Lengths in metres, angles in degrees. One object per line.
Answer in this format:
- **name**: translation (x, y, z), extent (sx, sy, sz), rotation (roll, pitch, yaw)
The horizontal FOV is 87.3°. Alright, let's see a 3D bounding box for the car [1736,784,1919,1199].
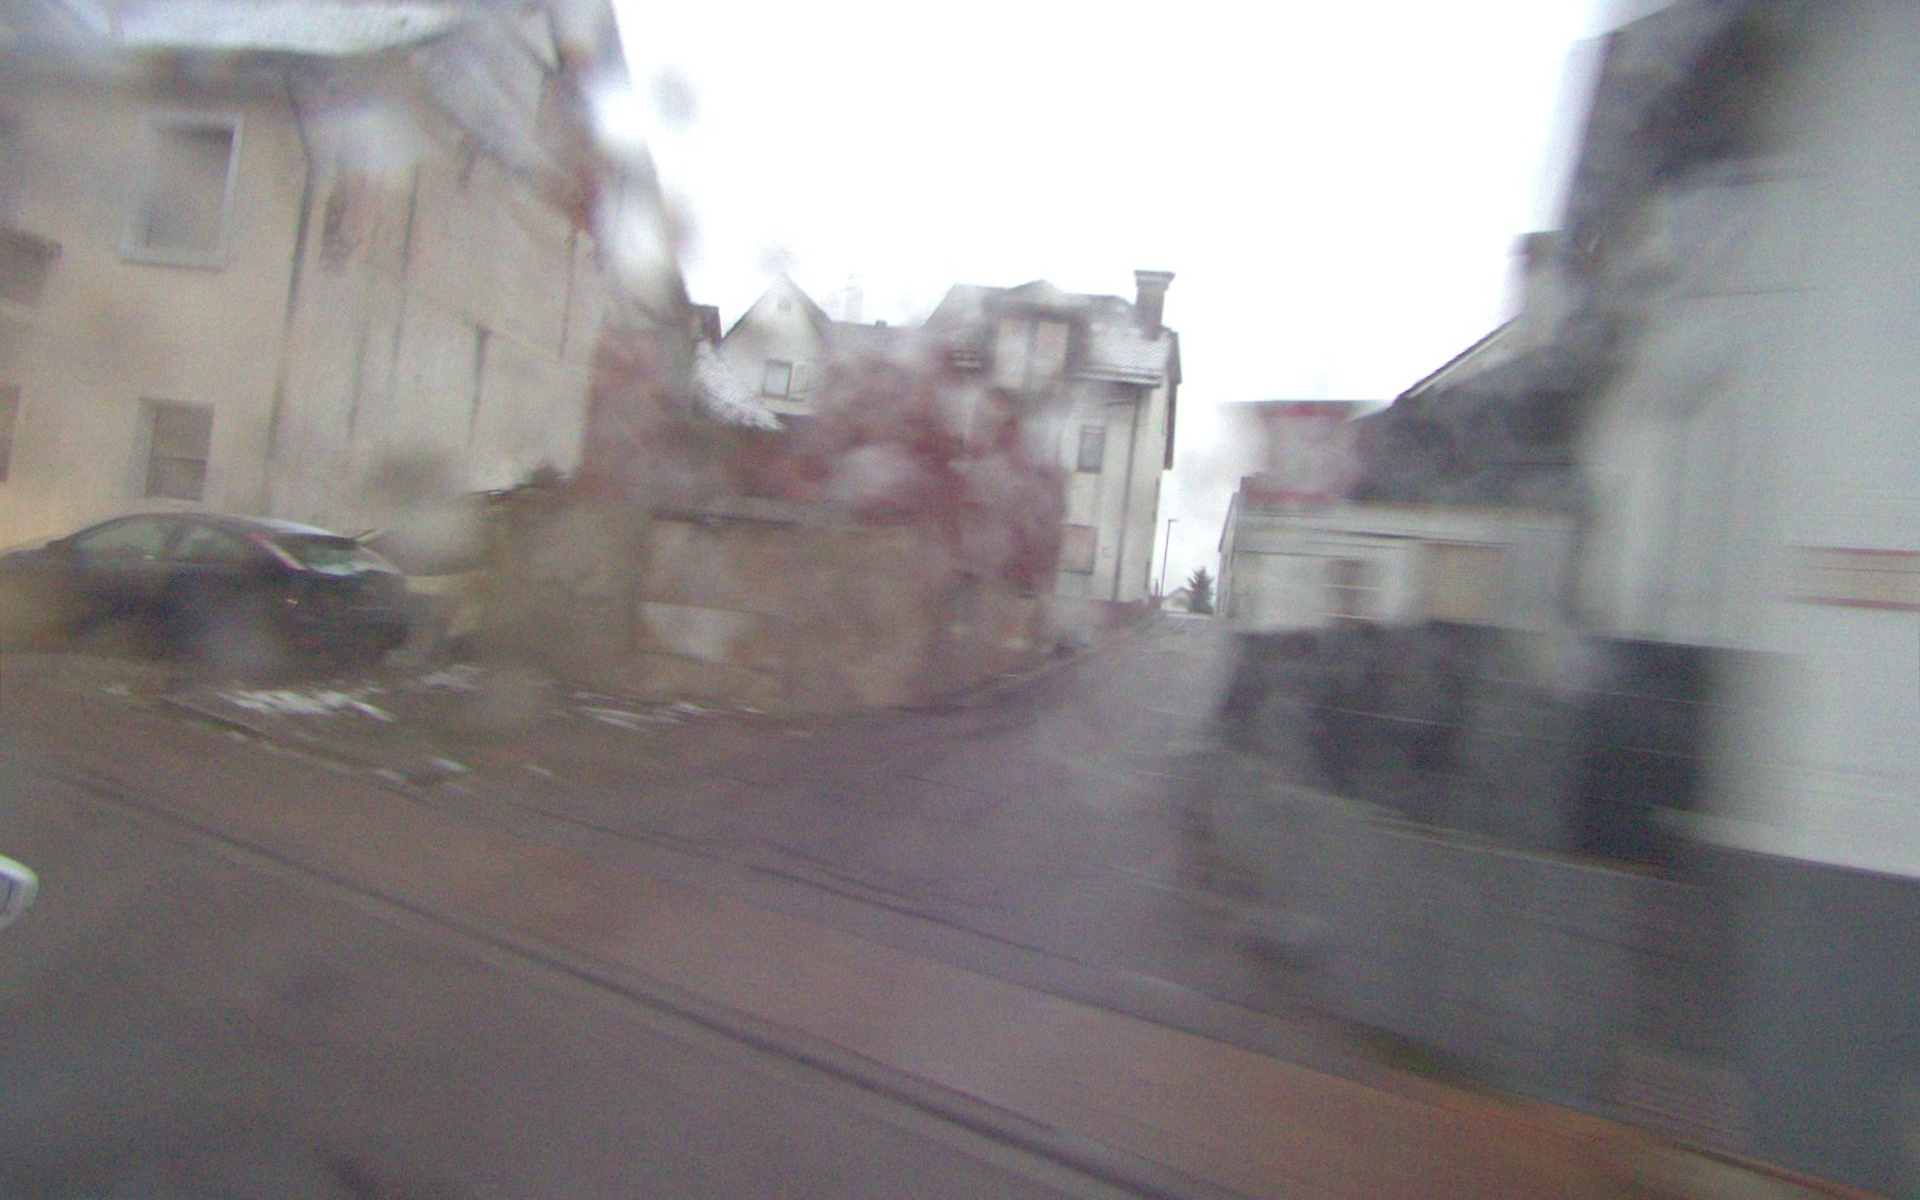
- **car**: translation (3.124, 1.249, 0.579), extent (3.927, 1.509, 1.646), rotation (7, -4, 23)

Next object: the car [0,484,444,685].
- **car**: translation (-7.831, -0.185, 10.293), extent (4.196, 1.505, 1.814), rotation (7, 0, 10)
